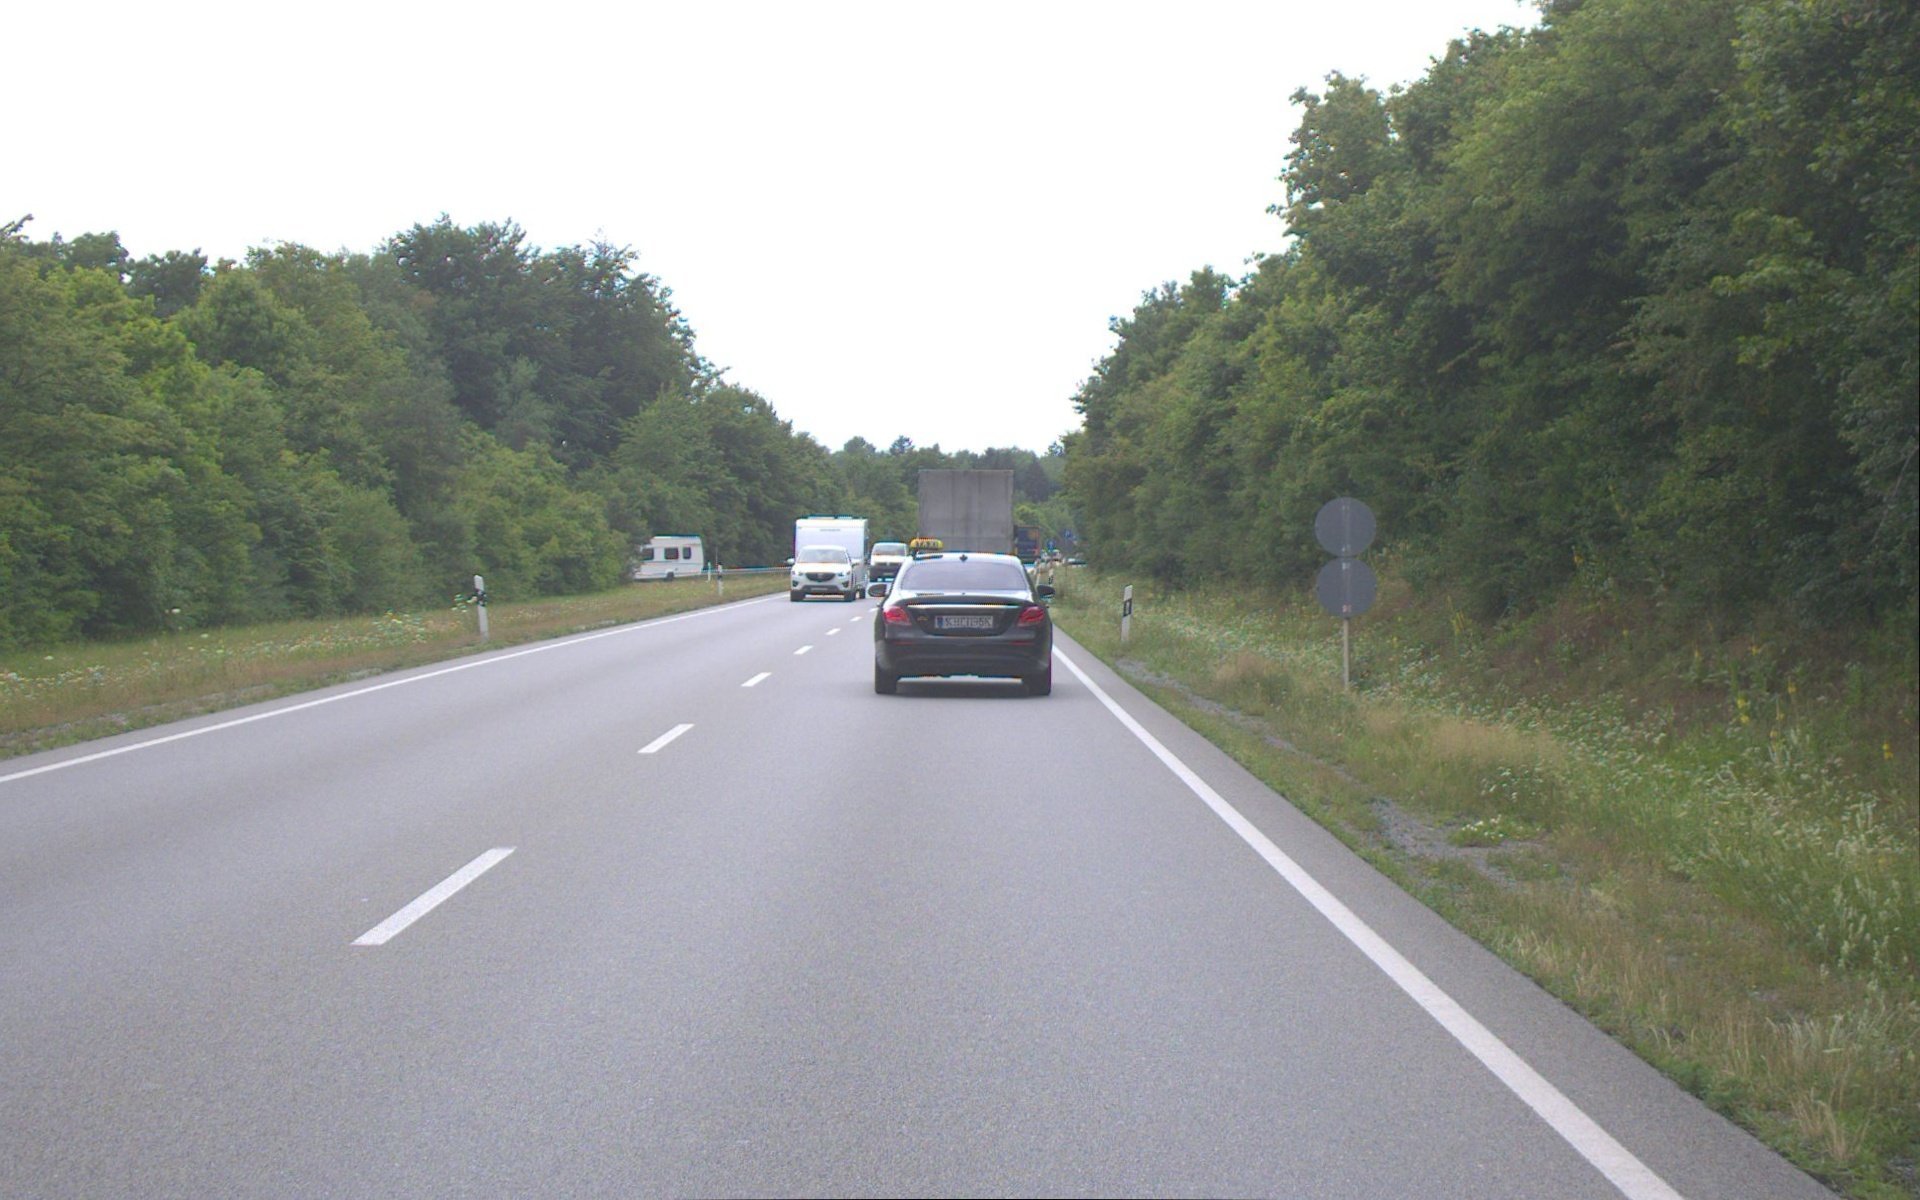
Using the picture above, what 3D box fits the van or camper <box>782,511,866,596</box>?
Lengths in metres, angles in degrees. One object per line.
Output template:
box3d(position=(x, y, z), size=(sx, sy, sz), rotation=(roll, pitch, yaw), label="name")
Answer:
box3d(position=(-4.257, -1.460, 108.484), size=(2.380, 2.566, 6.280), rotation=(1, 1, 0), label="van or camper")

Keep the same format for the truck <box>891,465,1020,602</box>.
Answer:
box3d(position=(-0.027, -1.855, 97.525), size=(3.281, 3.599, 11.399), rotation=(1, 1, 2), label="truck")

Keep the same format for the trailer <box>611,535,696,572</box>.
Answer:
box3d(position=(-17.189, -2.599, 193.135), size=(1.997, 2.007, 5.113), rotation=(1, 1, 33), label="trailer")

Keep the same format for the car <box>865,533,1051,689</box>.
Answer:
box3d(position=(-0.077, 0.084, 36.501), size=(1.791, 1.546, 4.000), rotation=(1, 1, -2), label="car")

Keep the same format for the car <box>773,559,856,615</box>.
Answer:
box3d(position=(-4.322, -0.418, 102.872), size=(2.279, 1.598, 4.692), rotation=(1, 1, 0), label="car")
